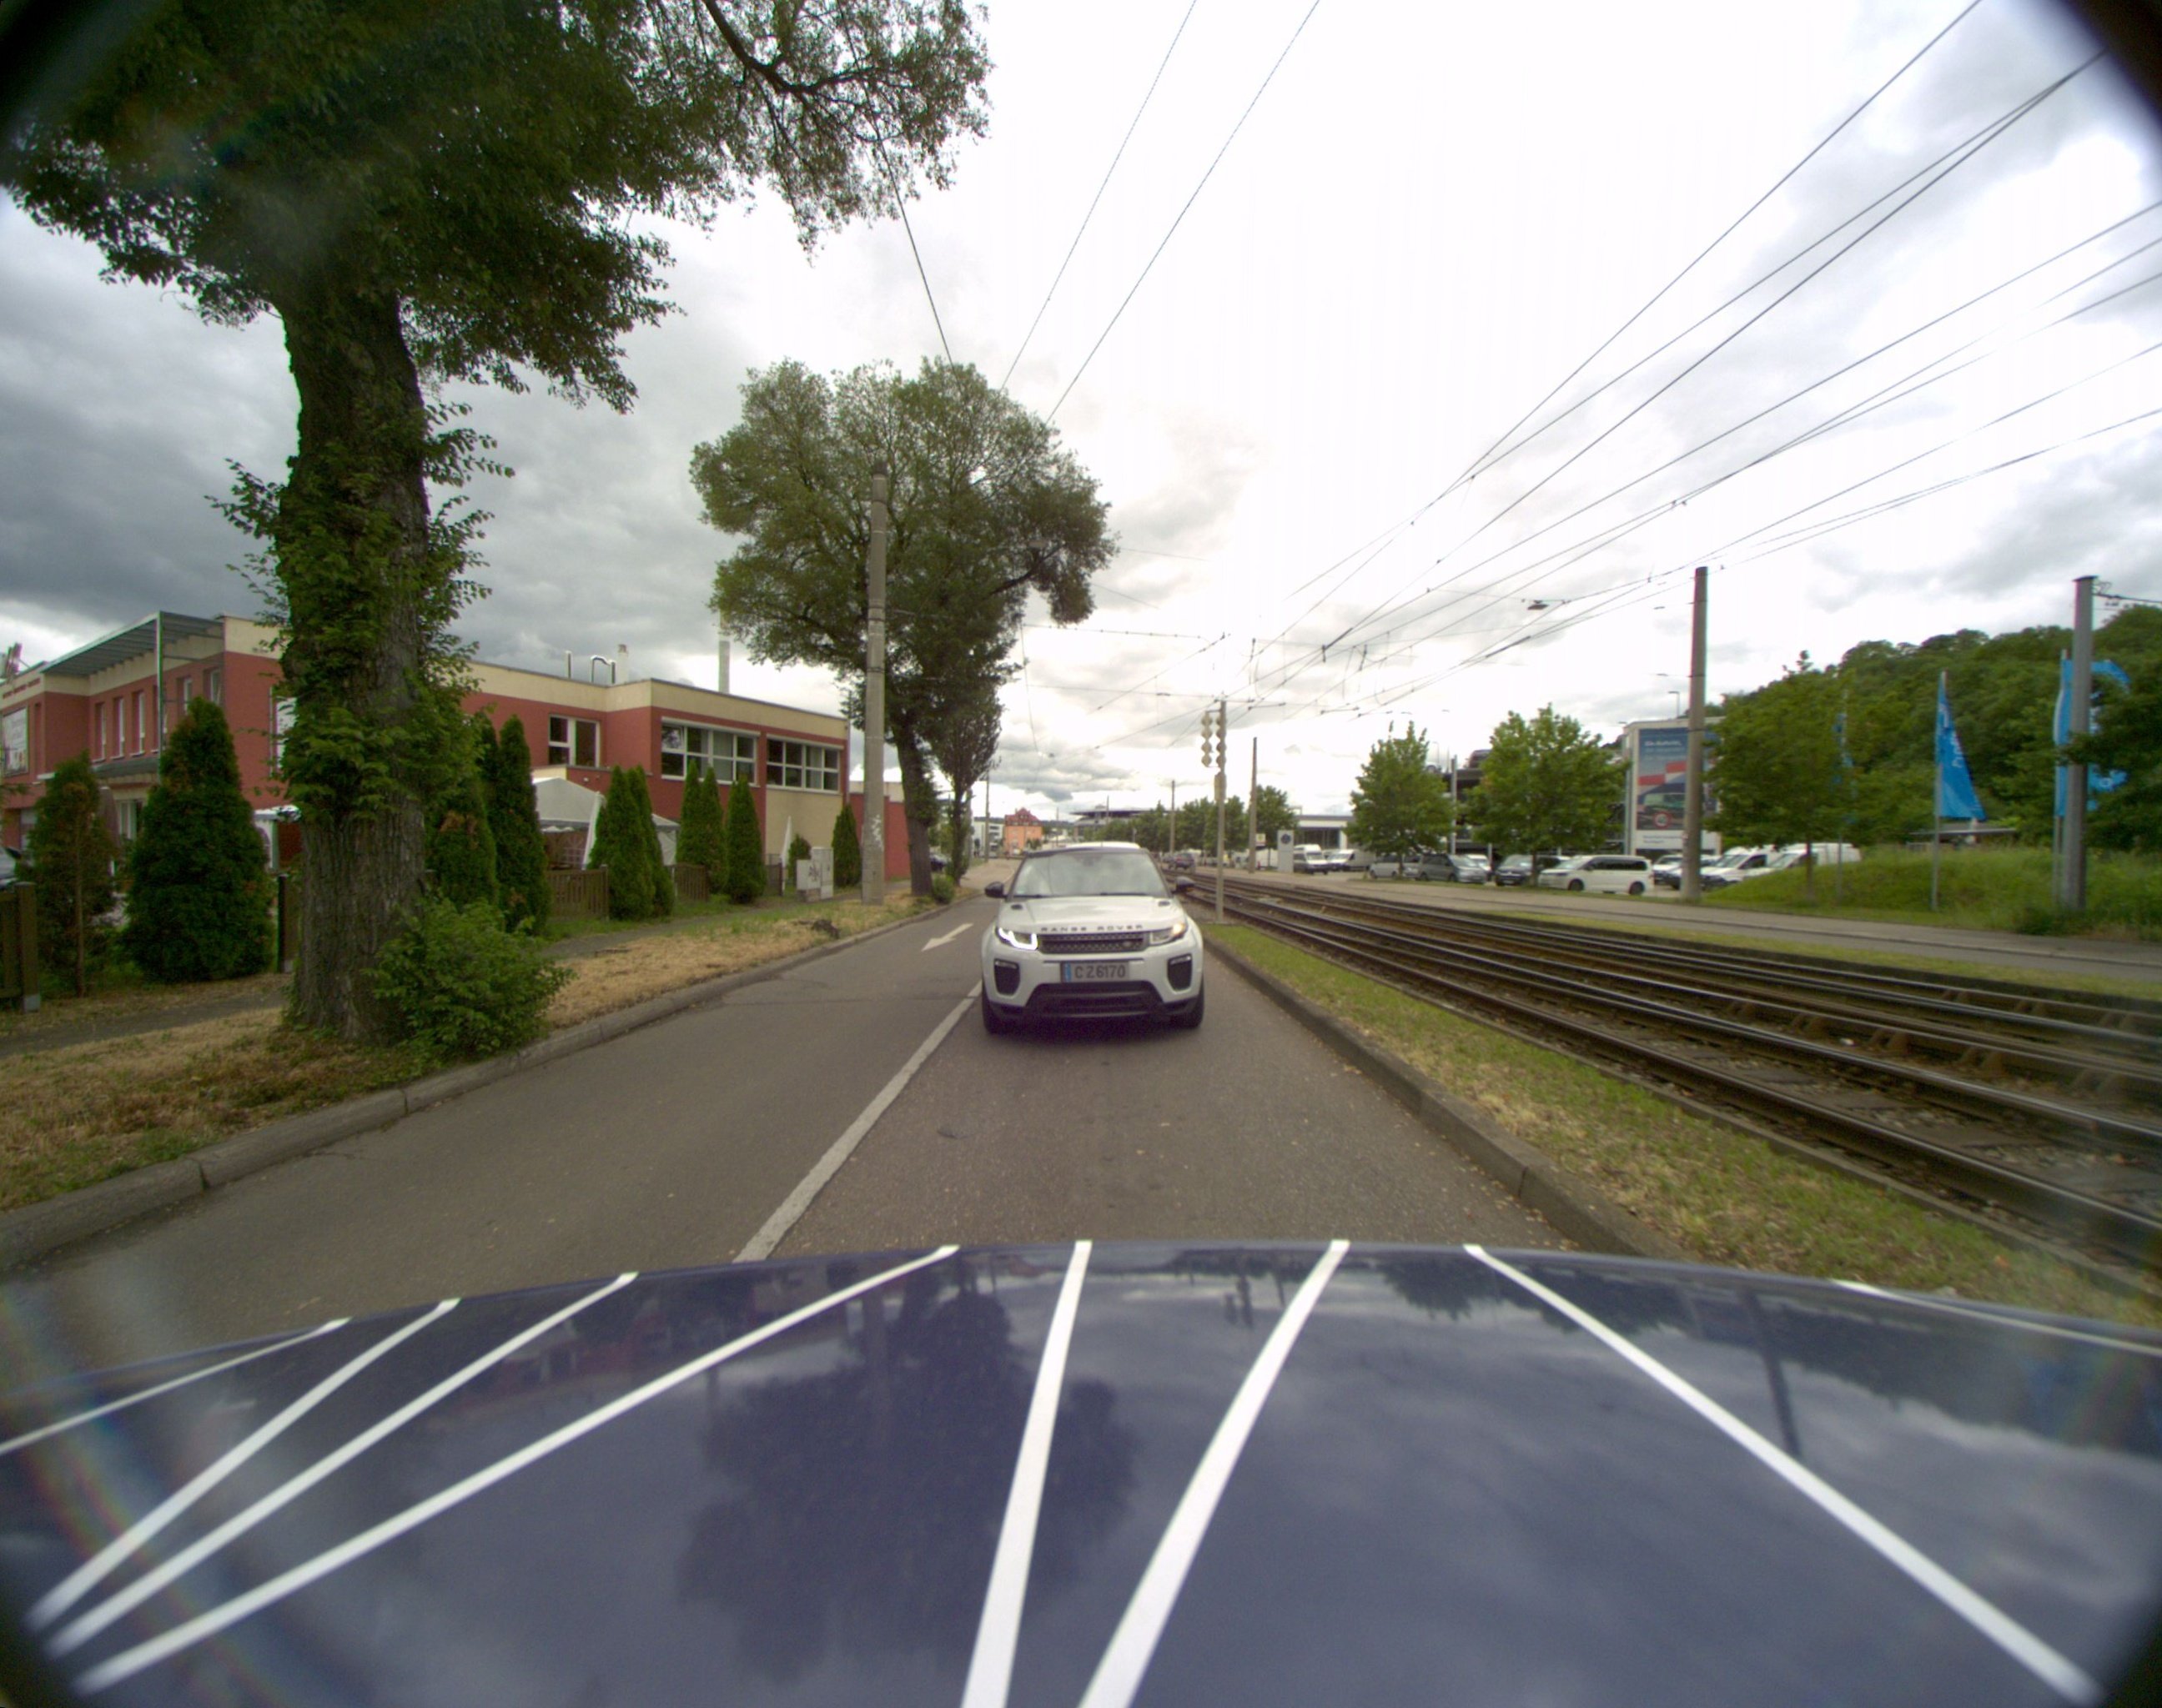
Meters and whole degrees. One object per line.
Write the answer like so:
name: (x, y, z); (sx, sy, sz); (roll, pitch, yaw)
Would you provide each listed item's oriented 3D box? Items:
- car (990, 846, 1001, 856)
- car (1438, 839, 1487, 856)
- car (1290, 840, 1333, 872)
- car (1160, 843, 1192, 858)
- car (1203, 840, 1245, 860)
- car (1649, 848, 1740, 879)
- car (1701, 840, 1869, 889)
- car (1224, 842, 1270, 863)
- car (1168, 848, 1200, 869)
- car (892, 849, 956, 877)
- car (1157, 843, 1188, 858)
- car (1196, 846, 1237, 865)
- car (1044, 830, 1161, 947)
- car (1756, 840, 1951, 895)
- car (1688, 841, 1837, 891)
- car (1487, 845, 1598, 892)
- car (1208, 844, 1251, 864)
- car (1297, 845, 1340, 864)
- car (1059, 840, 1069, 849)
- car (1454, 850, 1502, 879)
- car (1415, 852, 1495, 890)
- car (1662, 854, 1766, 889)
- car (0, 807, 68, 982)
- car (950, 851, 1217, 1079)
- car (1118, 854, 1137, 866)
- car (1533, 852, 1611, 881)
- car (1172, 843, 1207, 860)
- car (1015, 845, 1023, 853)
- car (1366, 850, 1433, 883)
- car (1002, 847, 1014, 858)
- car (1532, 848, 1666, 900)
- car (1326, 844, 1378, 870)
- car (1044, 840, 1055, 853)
car: (-16.640, -0.580, 148.046); (1.906, 1.708, 4.133); (5, 2, -4)
car: (46.665, -0.809, 93.105); (5.216, 1.826, 1.983); (-2, 1, 21)
car: (22.669, 0.136, 74.990); (2.320, 2.994, 6.157); (-2, 1, 0)
car: (15.186, -0.514, 121.902); (4.639, 2.196, 2.107); (-2, 1, -8)
car: (17.824, -0.519, 95.020); (4.639, 2.196, 2.107); (-2, 1, -8)
car: (40.051, 0.590, 49.734); (4.228, 1.826, 1.982); (-2, 1, 19)
car: (35.236, 0.525, 38.250); (5.839, 2.254, 2.056); (-2, 1, 22)
car: (19.057, -0.220, 87.492); (4.639, 2.196, 2.107); (-2, 1, -8)
car: (9.660, 0.393, 71.628); (1.906, 1.708, 4.133); (4, 1, -6)
car: (-10.524, 0.579, 51.282); (3.999, 1.636, 1.895); (-2, 1, -6)
car: (14.918, -0.546, 124.338); (4.639, 2.196, 2.107); (-2, 1, -8)
car: (17.434, 0.209, 97.699); (4.639, 2.196, 2.107); (-2, 1, -8)
car: (0.428, 0.560, 15.451); (1.998, 1.990, 5.034); (0, 1, 1)
car: (34.800, 0.608, 34.485); (5.850, 2.254, 2.056); (-2, 1, 22)
car: (36.864, 0.656, 41.293); (5.652, 2.447, 1.982); (-2, 1, 19)
car: (24.829, 0.766, 40.997); (4.774, 2.255, 1.979); (-2, 1, -3)
car: (18.025, -0.038, 92.587); (4.639, 2.196, 2.107); (-2, 1, -8)
car: (29.451, 0.044, 94.399); (4.636, 2.196, 2.108); (-2, 1, 0)
car: (-4.010, -2.211, 179.985); (2.000, 2.002, 3.997); (-2, 1, -7)
car: (29.081, 0.720, 55.787); (1.900, 1.882, 4.600); (-2, 1, 12)
car: (23.125, 0.981, 47.212); (2.142, 2.104, 4.772); (-2, 1, -7)
car: (36.821, 1.004, 44.340); (4.228, 1.826, 1.982); (-2, 1, 19)
car: (-14.437, 0.545, 8.929); (3.991, 2.002, 2.003); (-2, 1, 22)
car: (0.030, 0.826, 7.840); (1.998, 1.680, 4.268); (0, 1, 0)
car: (6.162, 0.794, 100.880); (1.999, 1.569, 4.176); (1, 0, -3)
car: (34.593, 0.877, 53.676); (4.228, 1.826, 1.982); (-2, 1, 19)
car: (15.939, -0.370, 111.911); (4.639, 2.196, 2.107); (-2, 1, -8)
car: (-18.086, -1.496, 222.319); (2.000, 2.002, 3.997); (-2, 1, -7)
car: (22.319, 0.819, 53.505); (2.142, 2.104, 4.772); (-2, 1, -8)
car: (-12.603, -0.282, 131.356); (1.869, 1.740, 3.997); (-2, 1, -5)
car: (25.420, 0.935, 37.392); (5.269, 2.254, 1.999); (-2, 1, -3)
car: (30.629, 0.350, 85.934); (6.057, 2.608, 2.316); (-3, 2, -34)
car: (-7.518, -1.801, 179.289); (2.410, 2.931, 4.747); (-2, 1, -2)
